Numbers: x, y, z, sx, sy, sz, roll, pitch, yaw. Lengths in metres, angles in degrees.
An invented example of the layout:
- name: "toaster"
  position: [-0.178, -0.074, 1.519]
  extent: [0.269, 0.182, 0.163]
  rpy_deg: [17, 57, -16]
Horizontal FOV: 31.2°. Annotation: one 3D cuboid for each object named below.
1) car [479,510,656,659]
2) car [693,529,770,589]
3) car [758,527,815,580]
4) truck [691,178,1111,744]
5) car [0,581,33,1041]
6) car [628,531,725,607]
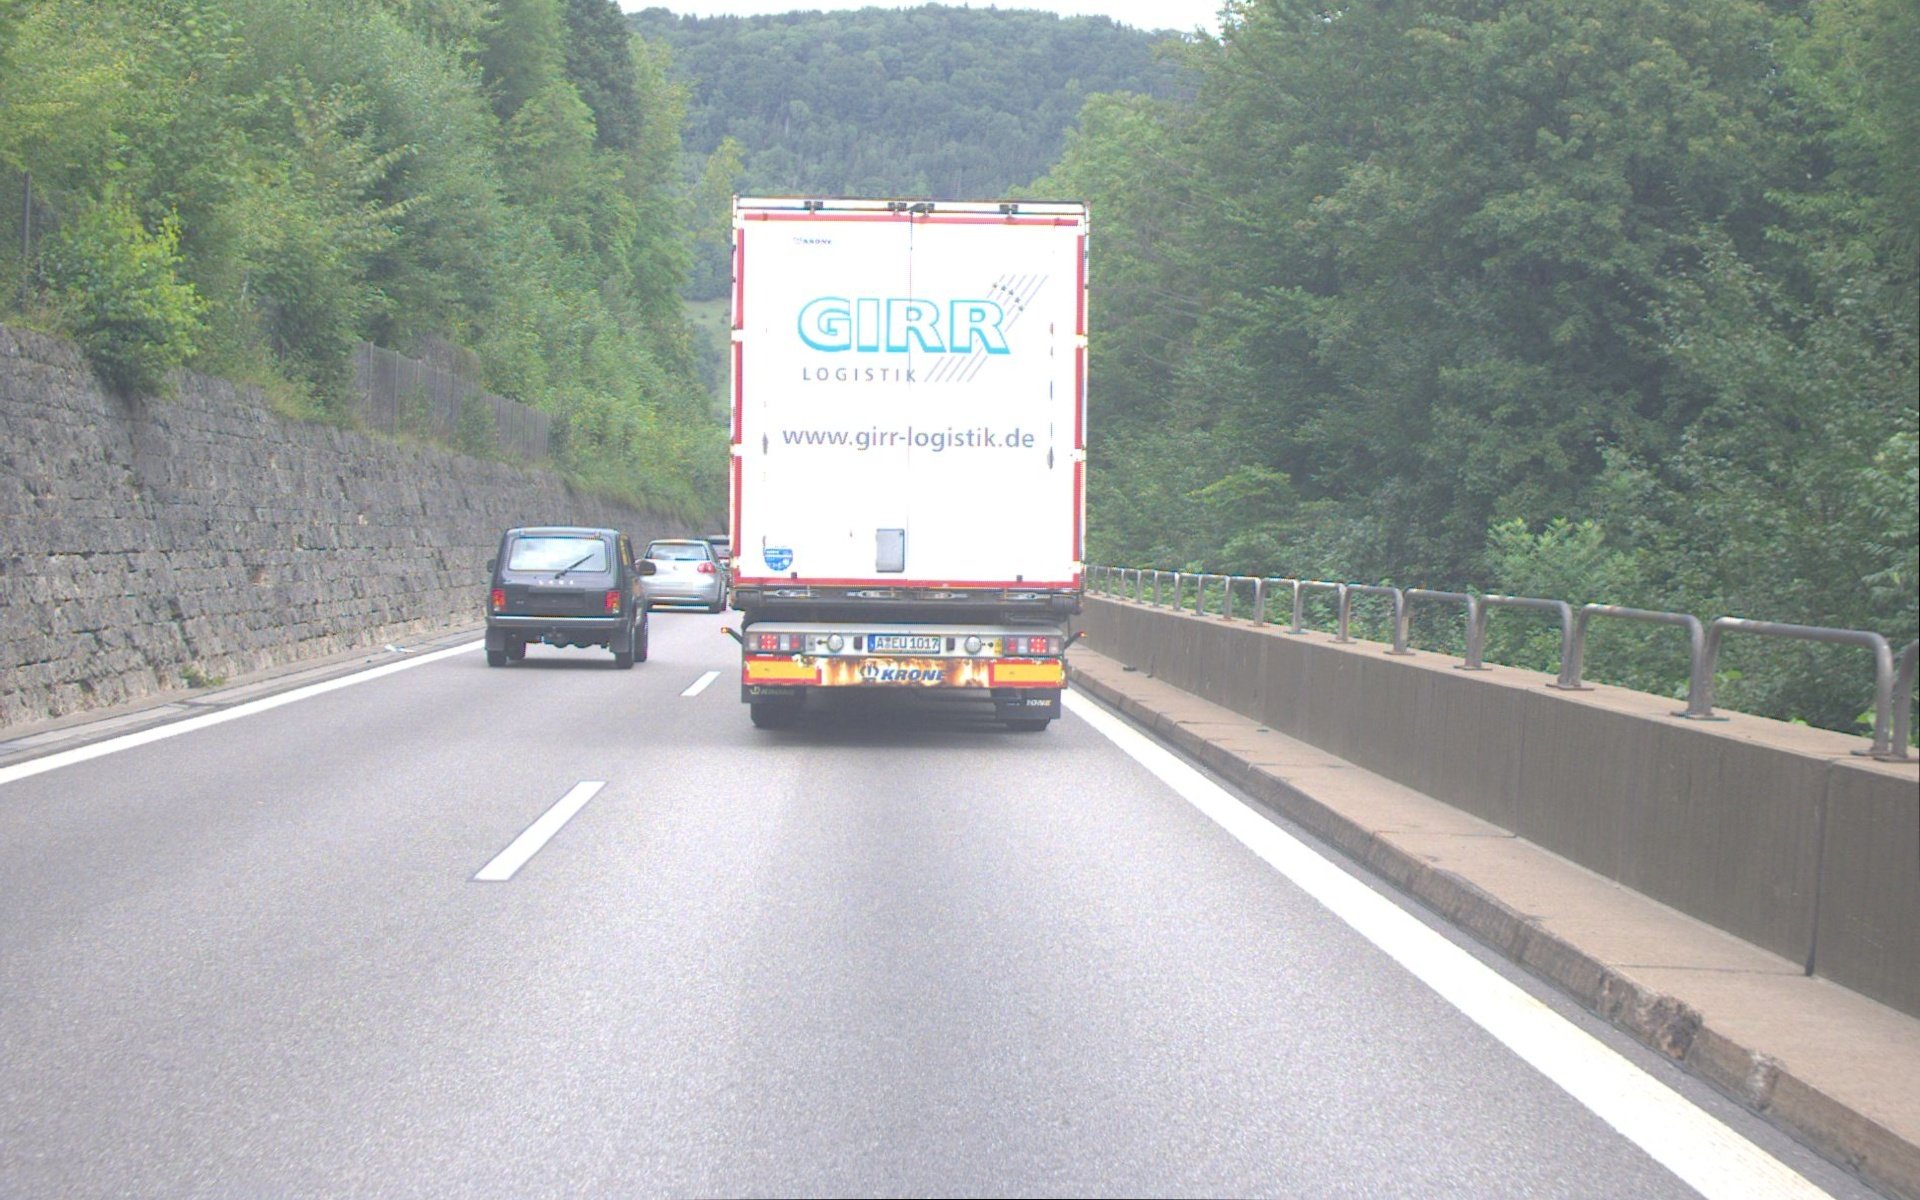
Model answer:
- name: "car"
  position: [-4.547, -0.194, 40.268]
  extent: [1.669, 1.633, 4.068]
  rpy_deg: [1, 0, -1]
- name: "car"
  position: [-6.273, -1.129, 94.742]
  extent: [1.917, 1.589, 4.179]
  rpy_deg: [1, 0, -2]
- name: "car"
  position: [-6.791, -1.822, 135.121]
  extent: [1.993, 2.007, 4.000]
  rpy_deg: [1, 0, 0]
- name: "truck"
  position: [-0.478, -1.040, 28.880]
  extent: [2.908, 3.947, 9.279]
  rpy_deg: [1, 1, -1]
- name: "car"
  position: [-3.892, 0.677, 9.027]
  extent: [1.766, 1.455, 4.411]
  rpy_deg: [1, 0, -1]
- name: "car"
  position: [-5.715, -0.636, 69.739]
  extent: [1.729, 1.481, 4.000]
  rpy_deg: [1, 0, -2]
